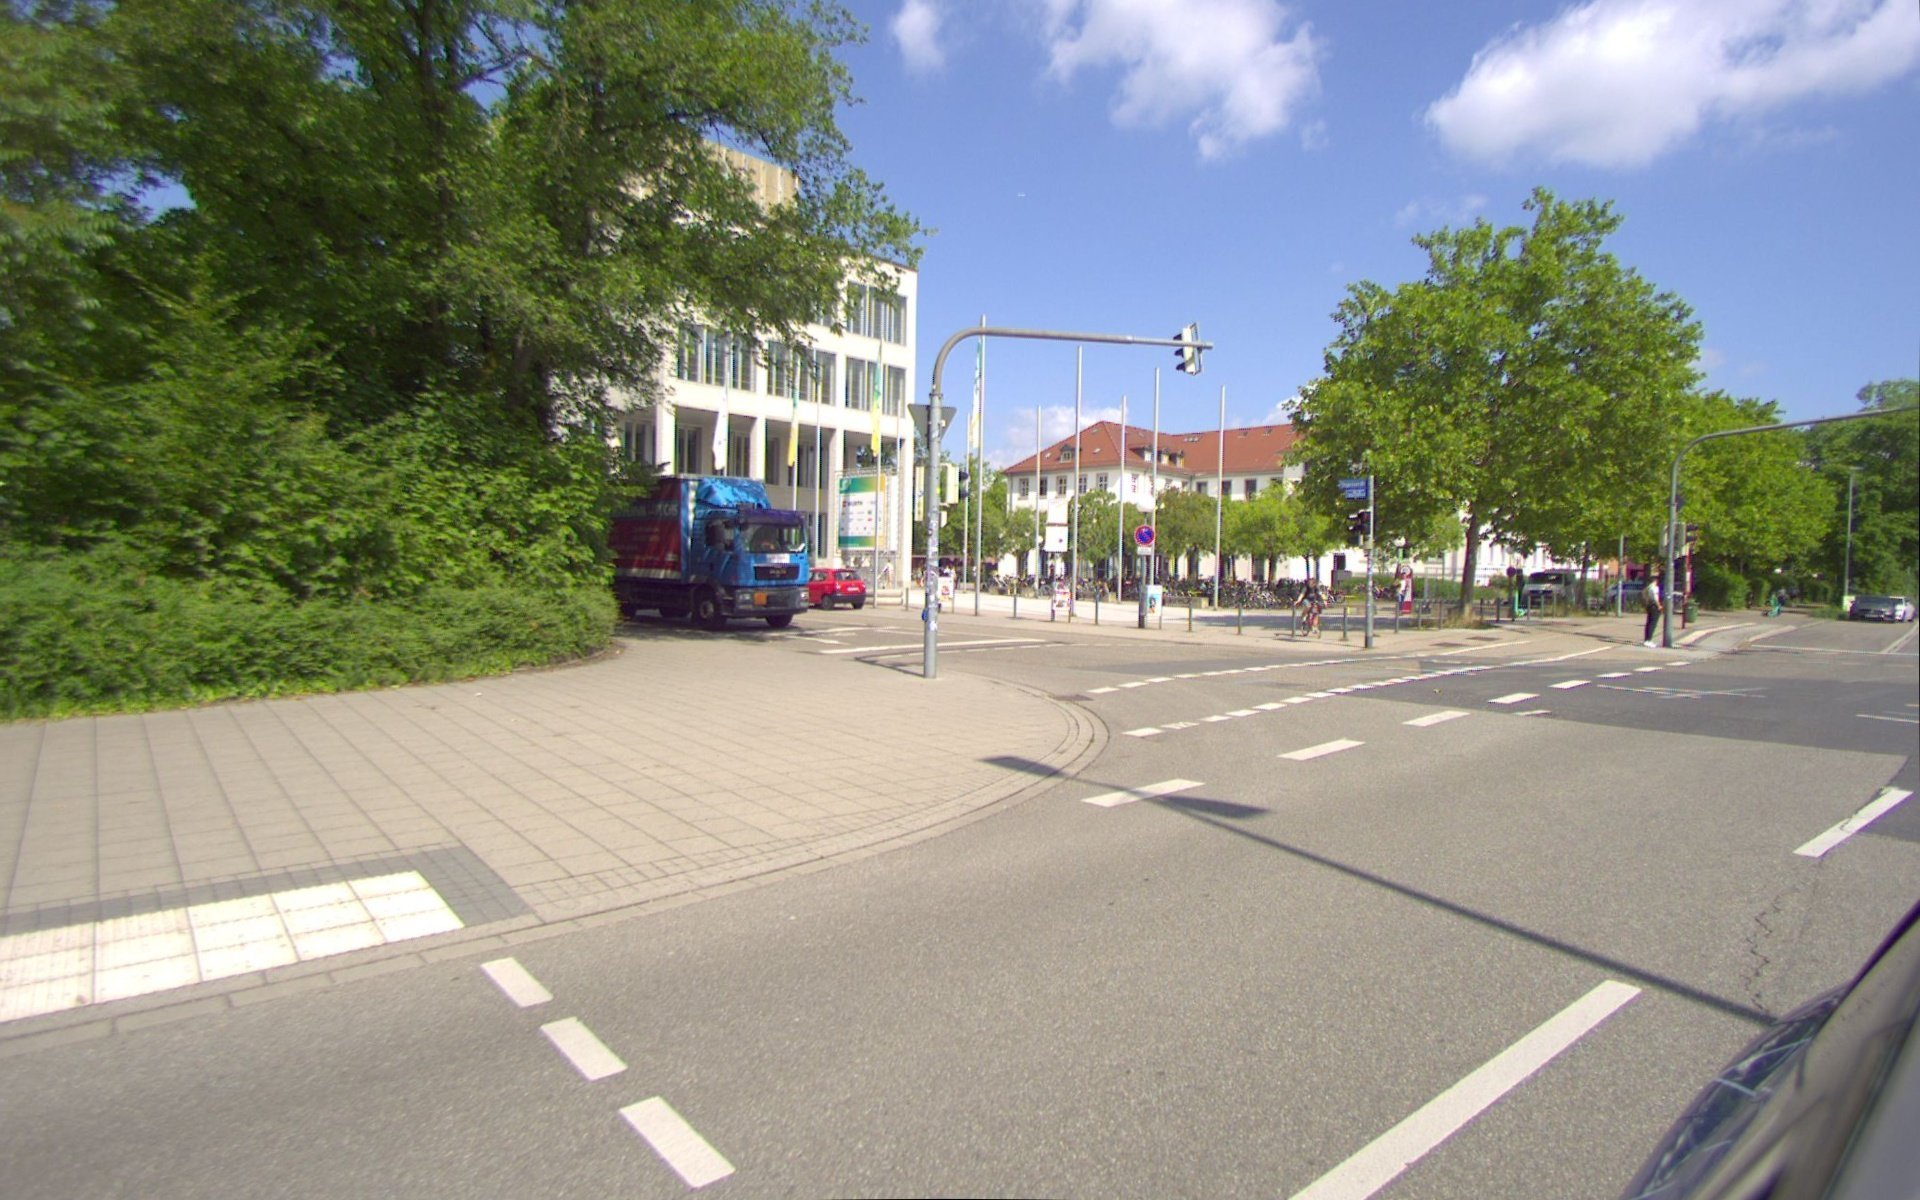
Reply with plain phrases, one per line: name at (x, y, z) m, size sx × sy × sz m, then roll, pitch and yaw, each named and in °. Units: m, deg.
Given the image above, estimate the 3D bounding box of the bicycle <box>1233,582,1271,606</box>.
bicycle at (14.292, -0.309, 49.576) m, size 1.666 × 1.110 × 0.617 m, roll 2°, pitch 1°, yaw 41°

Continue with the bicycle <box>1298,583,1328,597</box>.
bicycle at (22.018, -0.634, 63.125) m, size 1.666 × 0.800 × 0.617 m, roll 2°, pitch 2°, yaw 41°

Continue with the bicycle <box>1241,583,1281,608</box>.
bicycle at (13.654, -0.216, 45.935) m, size 1.666 × 1.110 × 0.617 m, roll 2°, pitch 1°, yaw 41°

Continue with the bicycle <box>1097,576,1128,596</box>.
bicycle at (8.648, -0.812, 57.340) m, size 1.666 × 1.110 × 0.617 m, roll 2°, pitch 1°, yaw 41°

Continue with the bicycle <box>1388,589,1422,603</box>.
bicycle at (25.430, -0.217, 57.870) m, size 1.666 × 0.743 × 0.617 m, roll 2°, pitch 2°, yaw 41°

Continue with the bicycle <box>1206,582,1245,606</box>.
bicycle at (12.450, -0.291, 47.410) m, size 1.666 × 1.110 × 0.617 m, roll 2°, pitch 1°, yaw 41°

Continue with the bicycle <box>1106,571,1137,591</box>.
bicycle at (9.273, -1.070, 58.031) m, size 1.666 × 1.110 × 0.617 m, roll 2°, pitch 1°, yaw 41°

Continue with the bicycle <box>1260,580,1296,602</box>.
bicycle at (16.566, -0.463, 52.709) m, size 1.666 × 1.110 × 0.617 m, roll 2°, pitch 1°, yaw 41°

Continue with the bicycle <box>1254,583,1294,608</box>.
bicycle at (14.540, -0.214, 46.861) m, size 1.666 × 1.110 × 0.617 m, roll 2°, pitch 1°, yaw 41°

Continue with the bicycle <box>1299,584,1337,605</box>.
bicycle at (17.872, -0.281, 50.492) m, size 1.666 × 0.997 × 0.617 m, roll 2°, pitch 1°, yaw 41°

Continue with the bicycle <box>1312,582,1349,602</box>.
bicycle at (18.825, -0.427, 51.411) m, size 1.666 × 0.977 × 0.617 m, roll 2°, pitch 1°, yaw 41°

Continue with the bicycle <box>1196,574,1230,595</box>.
bicycle at (13.548, -0.822, 54.217) m, size 1.666 × 1.110 × 0.617 m, roll 2°, pitch 1°, yaw 41°

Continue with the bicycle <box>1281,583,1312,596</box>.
bicycle at (20.527, -0.649, 61.686) m, size 1.666 × 0.800 × 0.617 m, roll 2°, pitch 2°, yaw 41°

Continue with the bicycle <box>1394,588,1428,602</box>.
bicycle at (26.076, -0.293, 58.544) m, size 1.666 × 0.743 × 0.617 m, roll 2°, pitch 2°, yaw 41°

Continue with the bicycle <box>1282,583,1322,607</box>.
bicycle at (16.425, -0.249, 48.623) m, size 1.666 × 1.110 × 0.617 m, roll 2°, pitch 1°, yaw 41°

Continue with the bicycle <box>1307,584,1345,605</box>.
bicycle at (18.393, -0.271, 50.914) m, size 1.666 × 0.984 × 0.617 m, roll 2°, pitch 1°, yaw 41°

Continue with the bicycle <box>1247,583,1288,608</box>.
bicycle at (14.103, -0.222, 46.390) m, size 1.666 × 1.110 × 0.617 m, roll 2°, pitch 1°, yaw 41°

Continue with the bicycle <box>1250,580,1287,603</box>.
bicycle at (15.703, -0.451, 51.518) m, size 1.666 × 1.110 × 0.617 m, roll 2°, pitch 1°, yaw 41°

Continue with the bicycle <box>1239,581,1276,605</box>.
bicycle at (14.765, -0.355, 50.203) m, size 1.666 × 1.110 × 0.617 m, roll 2°, pitch 1°, yaw 41°

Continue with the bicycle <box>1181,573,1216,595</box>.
bicycle at (12.484, -0.825, 52.963) m, size 1.666 × 1.110 × 0.617 m, roll 2°, pitch 1°, yaw 41°

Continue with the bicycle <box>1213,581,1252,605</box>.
bicycle at (12.918, -0.341, 47.953) m, size 1.666 × 1.110 × 0.617 m, roll 2°, pitch 1°, yaw 41°

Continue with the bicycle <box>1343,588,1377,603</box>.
bicycle at (23.125, -0.278, 58.516) m, size 1.665 × 0.800 × 0.618 m, roll 2°, pitch 1°, yaw 40°

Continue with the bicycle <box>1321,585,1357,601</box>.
bicycle at (19.684, -0.378, 52.553) m, size 1.666 × 0.800 × 0.617 m, roll 2°, pitch 2°, yaw 41°

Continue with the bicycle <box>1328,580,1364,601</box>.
bicycle at (20.304, -0.513, 53.216) m, size 1.666 × 1.040 × 0.617 m, roll 2°, pitch 1°, yaw 41°

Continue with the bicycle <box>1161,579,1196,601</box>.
bicycle at (11.282, -0.523, 52.165) m, size 1.666 × 1.110 × 0.617 m, roll 2°, pitch 1°, yaw 41°

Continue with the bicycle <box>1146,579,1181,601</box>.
bicycle at (10.287, -0.510, 51.140) m, size 1.666 × 1.110 × 0.618 m, roll 2°, pitch 1°, yaw 41°

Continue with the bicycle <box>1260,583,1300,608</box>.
bicycle at (14.983, -0.201, 47.365) m, size 1.666 × 1.110 × 0.617 m, roll 2°, pitch 1°, yaw 41°

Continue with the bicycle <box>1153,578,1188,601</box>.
bicycle at (10.726, -0.542, 51.617) m, size 1.666 × 1.110 × 0.618 m, roll 2°, pitch 1°, yaw 41°

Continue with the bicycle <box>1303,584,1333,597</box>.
bicycle at (22.565, -0.609, 63.766) m, size 1.666 × 0.800 × 0.617 m, roll 2°, pitch 2°, yaw 41°

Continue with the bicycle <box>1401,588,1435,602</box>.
bicycle at (26.683, -0.303, 58.972) m, size 1.666 × 0.743 × 0.617 m, roll 2°, pitch 2°, yaw 41°

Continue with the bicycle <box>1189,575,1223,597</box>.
bicycle at (13.067, -0.744, 53.713) m, size 1.666 × 1.110 × 0.617 m, roll 2°, pitch 1°, yaw 41°

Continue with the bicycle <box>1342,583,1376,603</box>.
bicycle at (22.551, -0.405, 57.252) m, size 1.666 × 1.110 × 0.617 m, roll 2°, pitch 1°, yaw 41°

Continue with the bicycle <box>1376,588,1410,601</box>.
bicycle at (24.460, -0.316, 57.136) m, size 1.666 × 0.743 × 0.617 m, roll 2°, pitch 2°, yaw 41°

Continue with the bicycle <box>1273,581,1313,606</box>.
bicycle at (15.735, -0.315, 47.831) m, size 1.666 × 1.110 × 0.617 m, roll 2°, pitch 1°, yaw 41°

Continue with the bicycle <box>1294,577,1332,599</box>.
bicycle at (17.439, -0.579, 49.982) m, size 1.666 × 1.048 × 0.617 m, roll 2°, pitch 1°, yaw 41°

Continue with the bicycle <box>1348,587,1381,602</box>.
bicycle at (23.584, -0.320, 59.020) m, size 1.665 × 0.800 × 0.618 m, roll 2°, pitch 1°, yaw 40°

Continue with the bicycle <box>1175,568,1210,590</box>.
bicycle at (12.041, -1.082, 52.400) m, size 1.666 × 1.110 × 0.617 m, roll 2°, pitch 1°, yaw 41°

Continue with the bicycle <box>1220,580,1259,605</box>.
bicycle at (13.399, -0.366, 48.504) m, size 1.666 × 1.110 × 0.617 m, roll 2°, pitch 1°, yaw 41°

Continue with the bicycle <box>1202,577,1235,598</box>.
bicycle at (13.981, -0.679, 54.765) m, size 1.666 × 1.110 × 0.617 m, roll 2°, pitch 1°, yaw 41°
